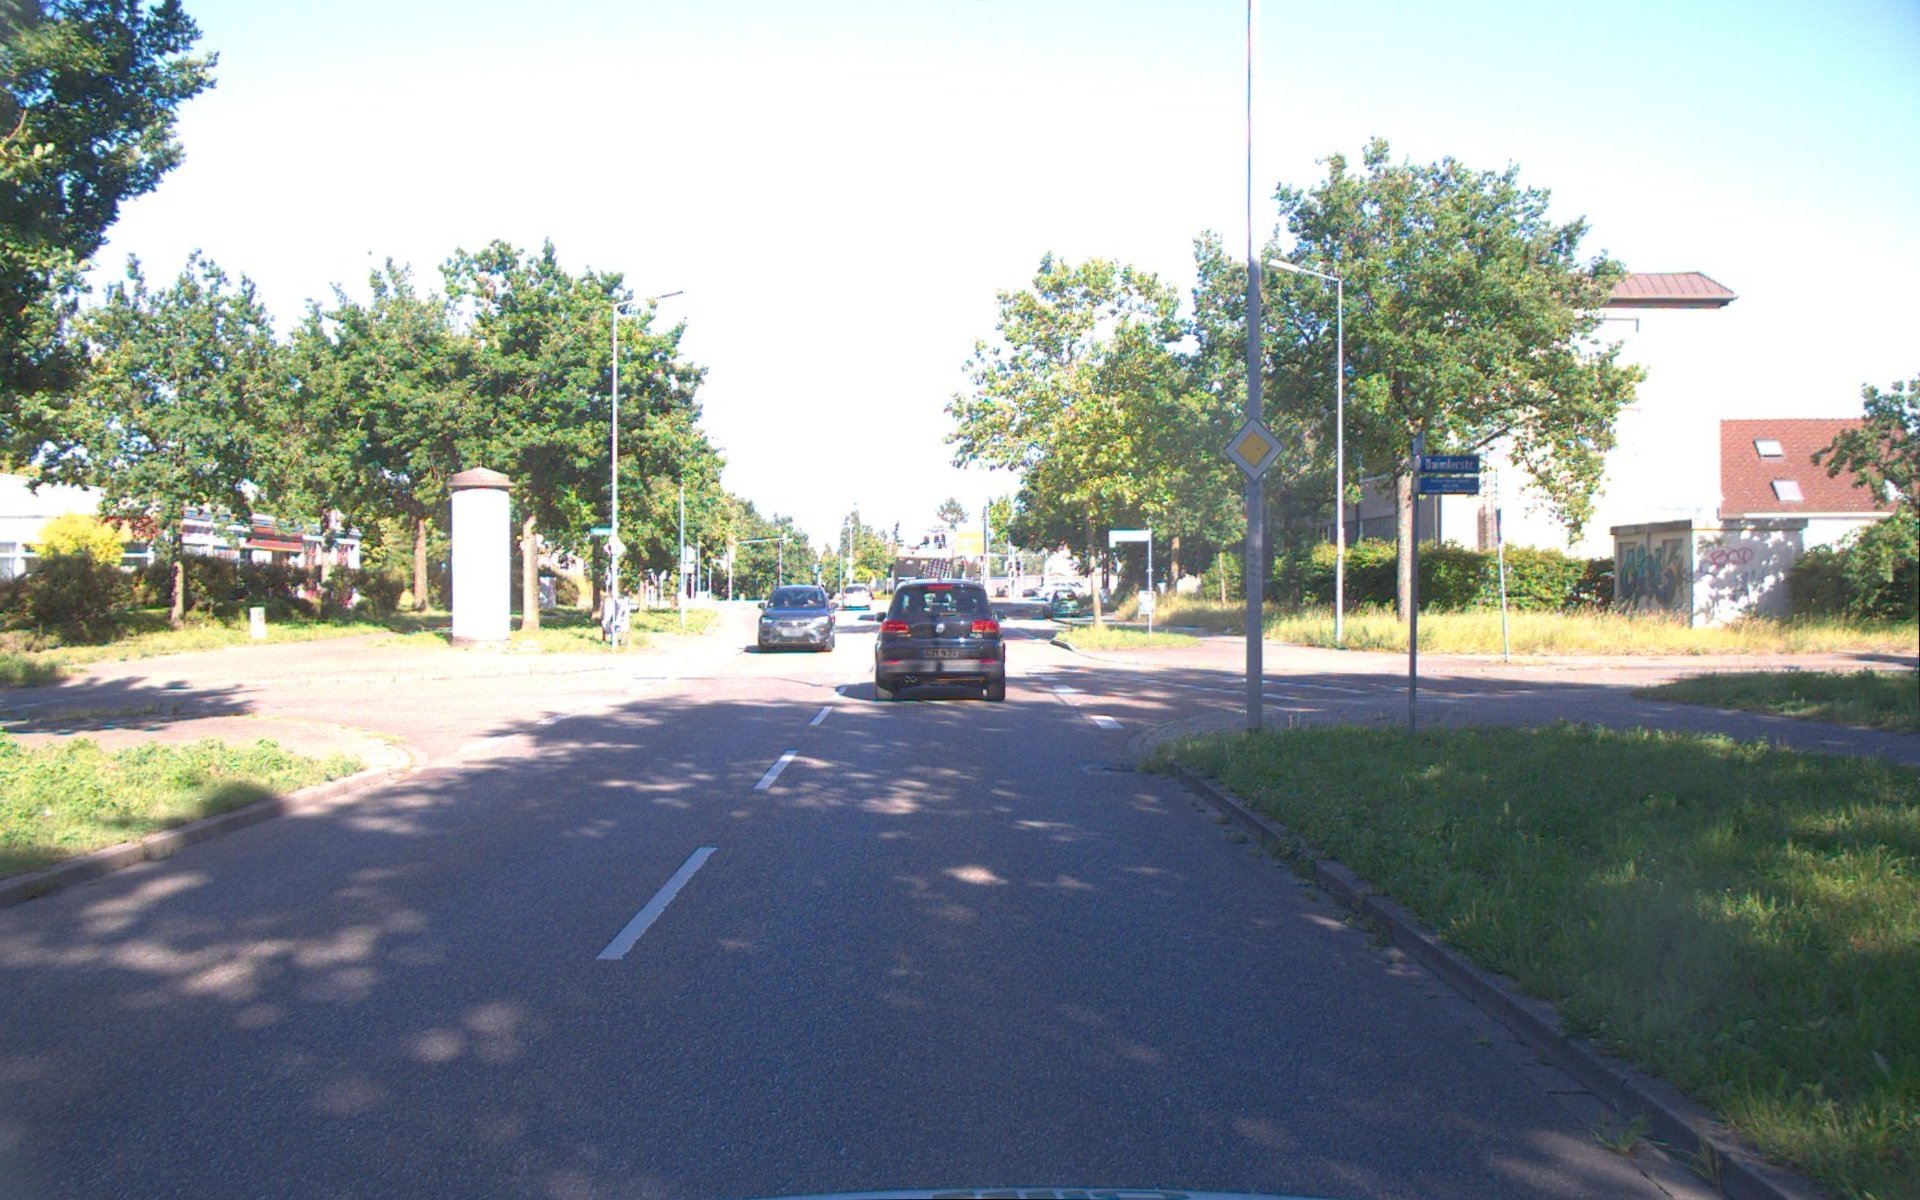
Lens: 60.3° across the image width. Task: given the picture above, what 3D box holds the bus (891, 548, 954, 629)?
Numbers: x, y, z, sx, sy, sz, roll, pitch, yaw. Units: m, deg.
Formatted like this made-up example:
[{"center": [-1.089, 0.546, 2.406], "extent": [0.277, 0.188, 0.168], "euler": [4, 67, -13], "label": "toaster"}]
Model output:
[{"center": [-1.846, -0.541, 76.642], "extent": [2.544, 3.393, 11.977], "euler": [1, 0, -3], "label": "bus"}]

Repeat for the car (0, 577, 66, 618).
[{"center": [-36.322, -0.091, 63.084], "extent": [3.528, 1.524, 1.590], "euler": [0, 0, -8], "label": "car"}]

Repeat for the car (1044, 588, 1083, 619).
[{"center": [5.221, 0.172, 83.801], "extent": [1.560, 1.453, 4.202], "euler": [-2, 0, -2], "label": "car"}]

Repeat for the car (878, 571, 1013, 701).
[{"center": [-0.212, 0.494, 23.982], "extent": [1.784, 1.703, 4.002], "euler": [-1, 0, -1], "label": "car"}]

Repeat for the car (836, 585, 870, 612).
[{"center": [-6.577, -0.069, 101.619], "extent": [1.721, 1.648, 4.025], "euler": [0, 0, -9], "label": "car"}]

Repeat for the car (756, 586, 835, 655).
[{"center": [-4.082, 0.509, 41.569], "extent": [1.719, 1.623, 4.296], "euler": [1, 0, -3], "label": "car"}]

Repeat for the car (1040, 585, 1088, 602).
[{"center": [8.885, -0.548, 141.919], "extent": [3.822, 1.363, 1.678], "euler": [1, -1, -12], "label": "car"}]

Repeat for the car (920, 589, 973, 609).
[{"center": [-0.914, -0.078, 113.735], "extent": [3.447, 1.325, 1.576], "euler": [0, 0, 6], "label": "car"}]
